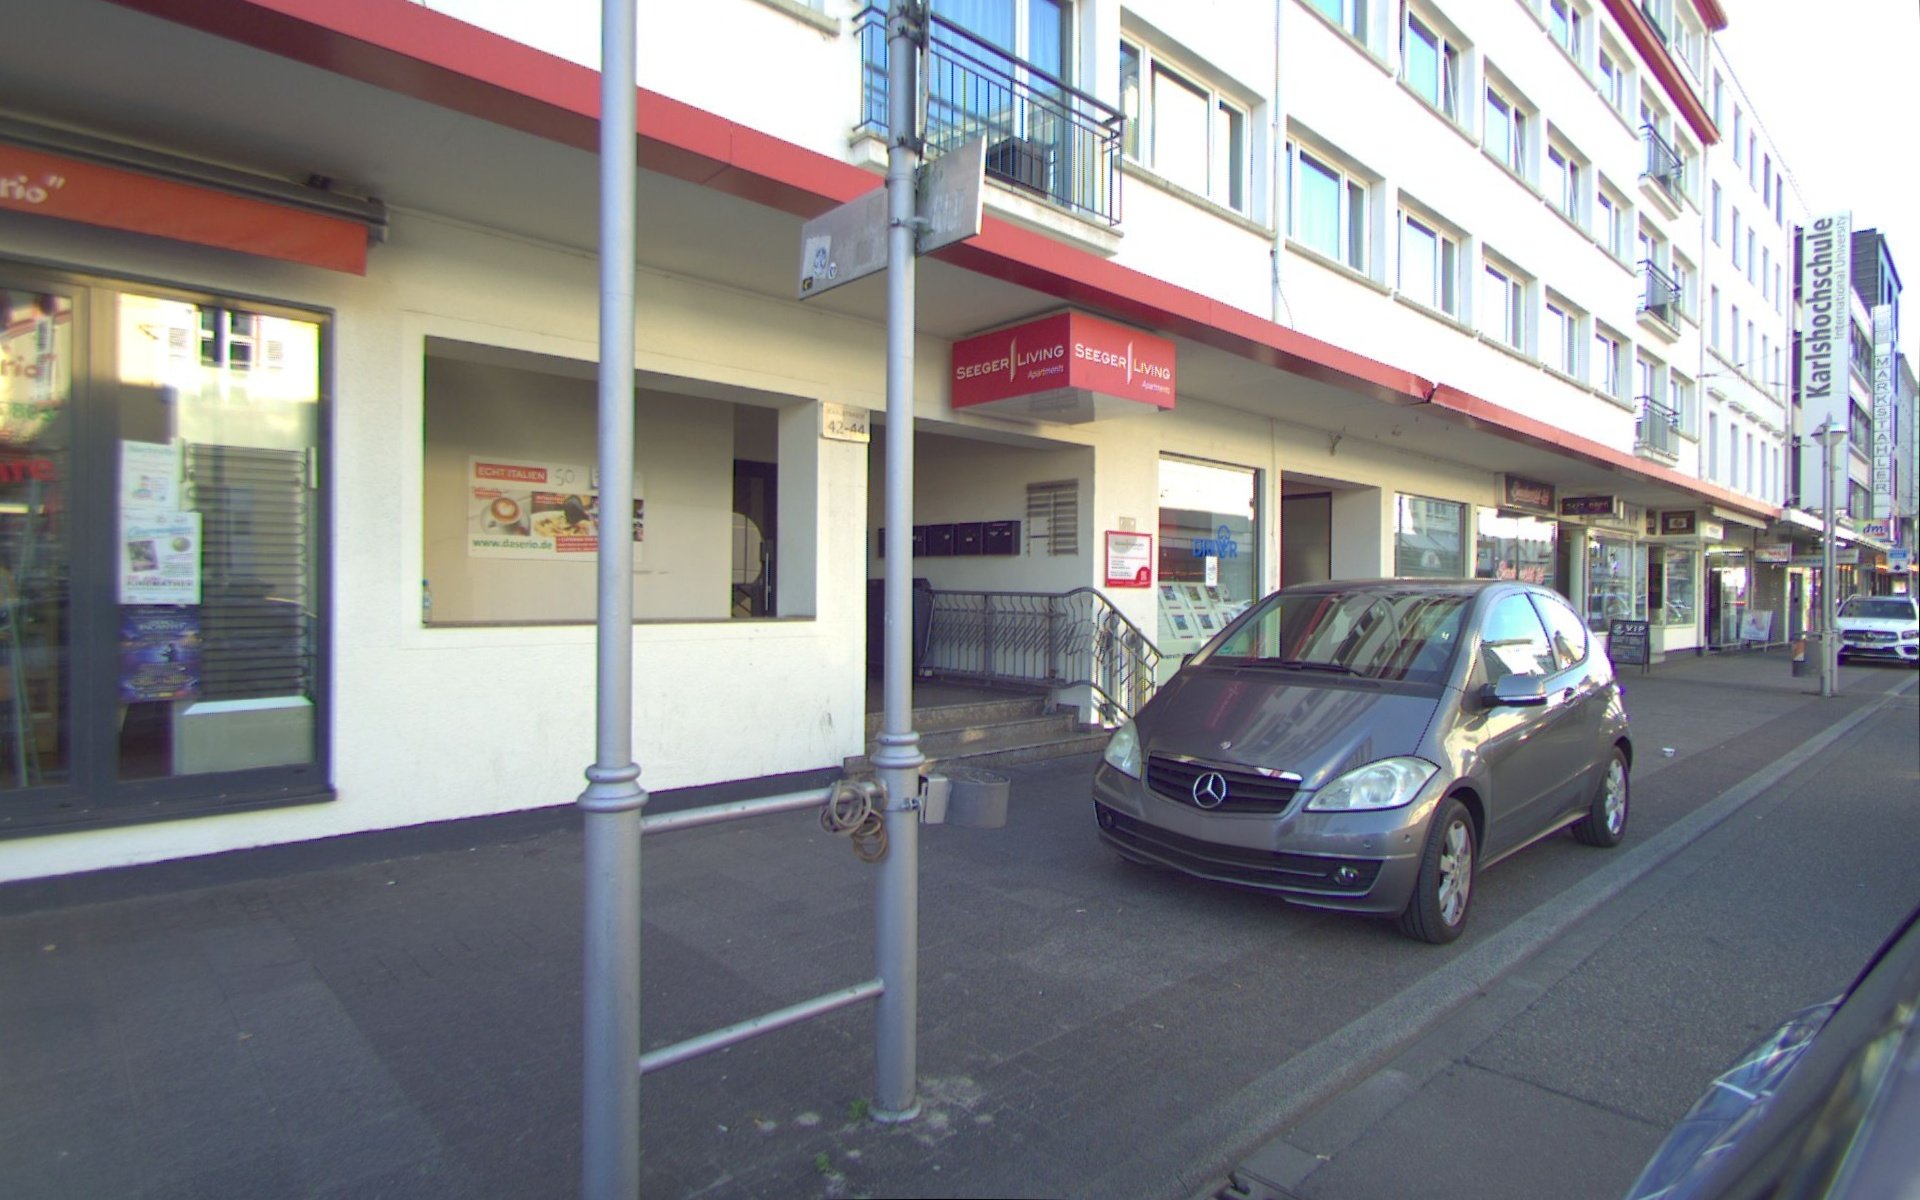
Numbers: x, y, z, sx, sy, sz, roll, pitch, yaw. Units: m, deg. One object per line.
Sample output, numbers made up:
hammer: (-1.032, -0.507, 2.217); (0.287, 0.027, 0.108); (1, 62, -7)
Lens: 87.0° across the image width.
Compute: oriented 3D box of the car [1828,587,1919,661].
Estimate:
car: (22.377, 0.526, 24.348); (1.994, 1.650, 3.935); (1, 1, 45)

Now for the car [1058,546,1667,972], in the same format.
car: (2.483, 0.587, 5.693); (3.932, 1.565, 1.681); (0, 0, -43)
